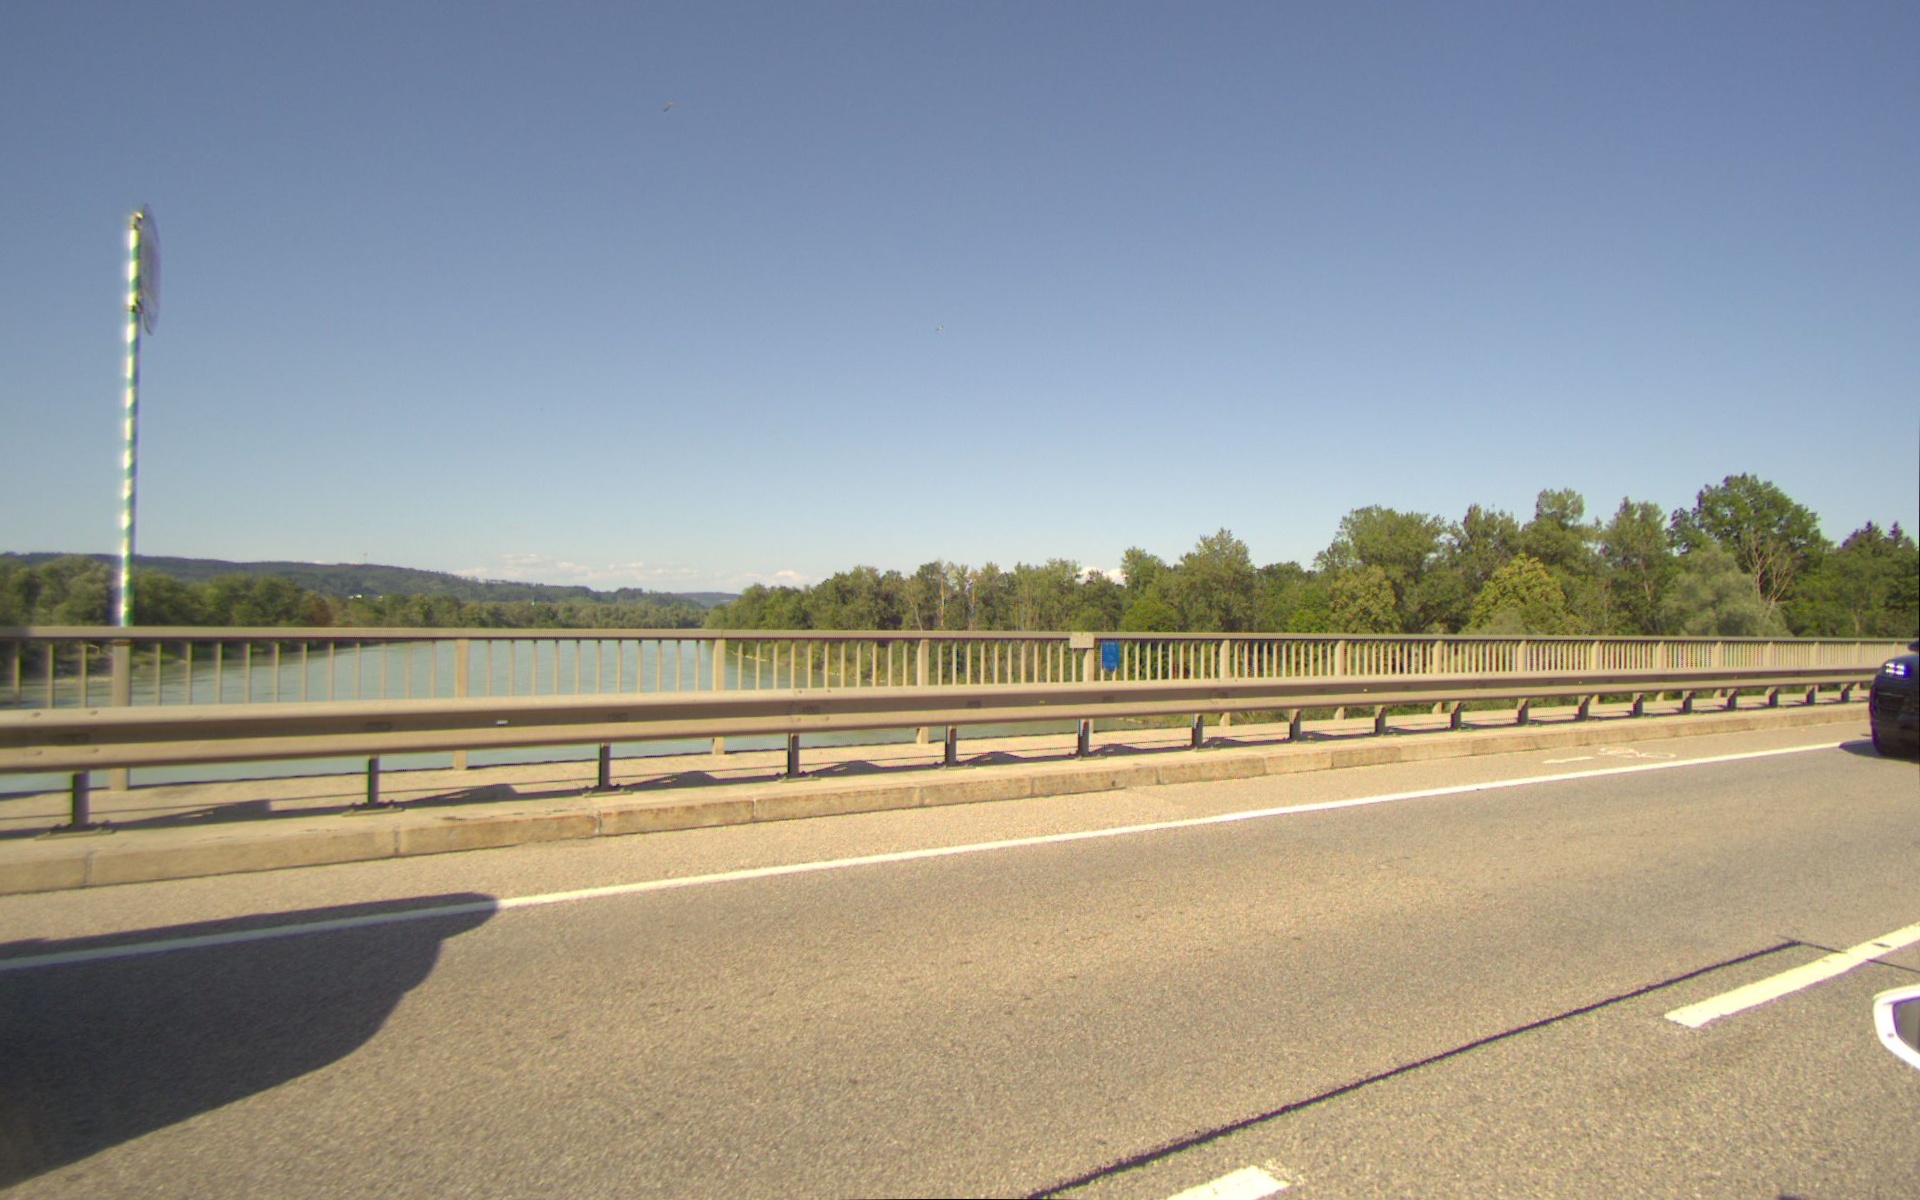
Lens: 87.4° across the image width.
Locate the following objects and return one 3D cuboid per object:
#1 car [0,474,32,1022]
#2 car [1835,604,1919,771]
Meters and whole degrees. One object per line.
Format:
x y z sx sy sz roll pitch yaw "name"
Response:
-4.645 0.442 1.451 4.513 1.745 1.845 1 1 -31 "car"
11.929 0.955 11.082 4.666 1.675 2.043 1 1 -30 "car"
